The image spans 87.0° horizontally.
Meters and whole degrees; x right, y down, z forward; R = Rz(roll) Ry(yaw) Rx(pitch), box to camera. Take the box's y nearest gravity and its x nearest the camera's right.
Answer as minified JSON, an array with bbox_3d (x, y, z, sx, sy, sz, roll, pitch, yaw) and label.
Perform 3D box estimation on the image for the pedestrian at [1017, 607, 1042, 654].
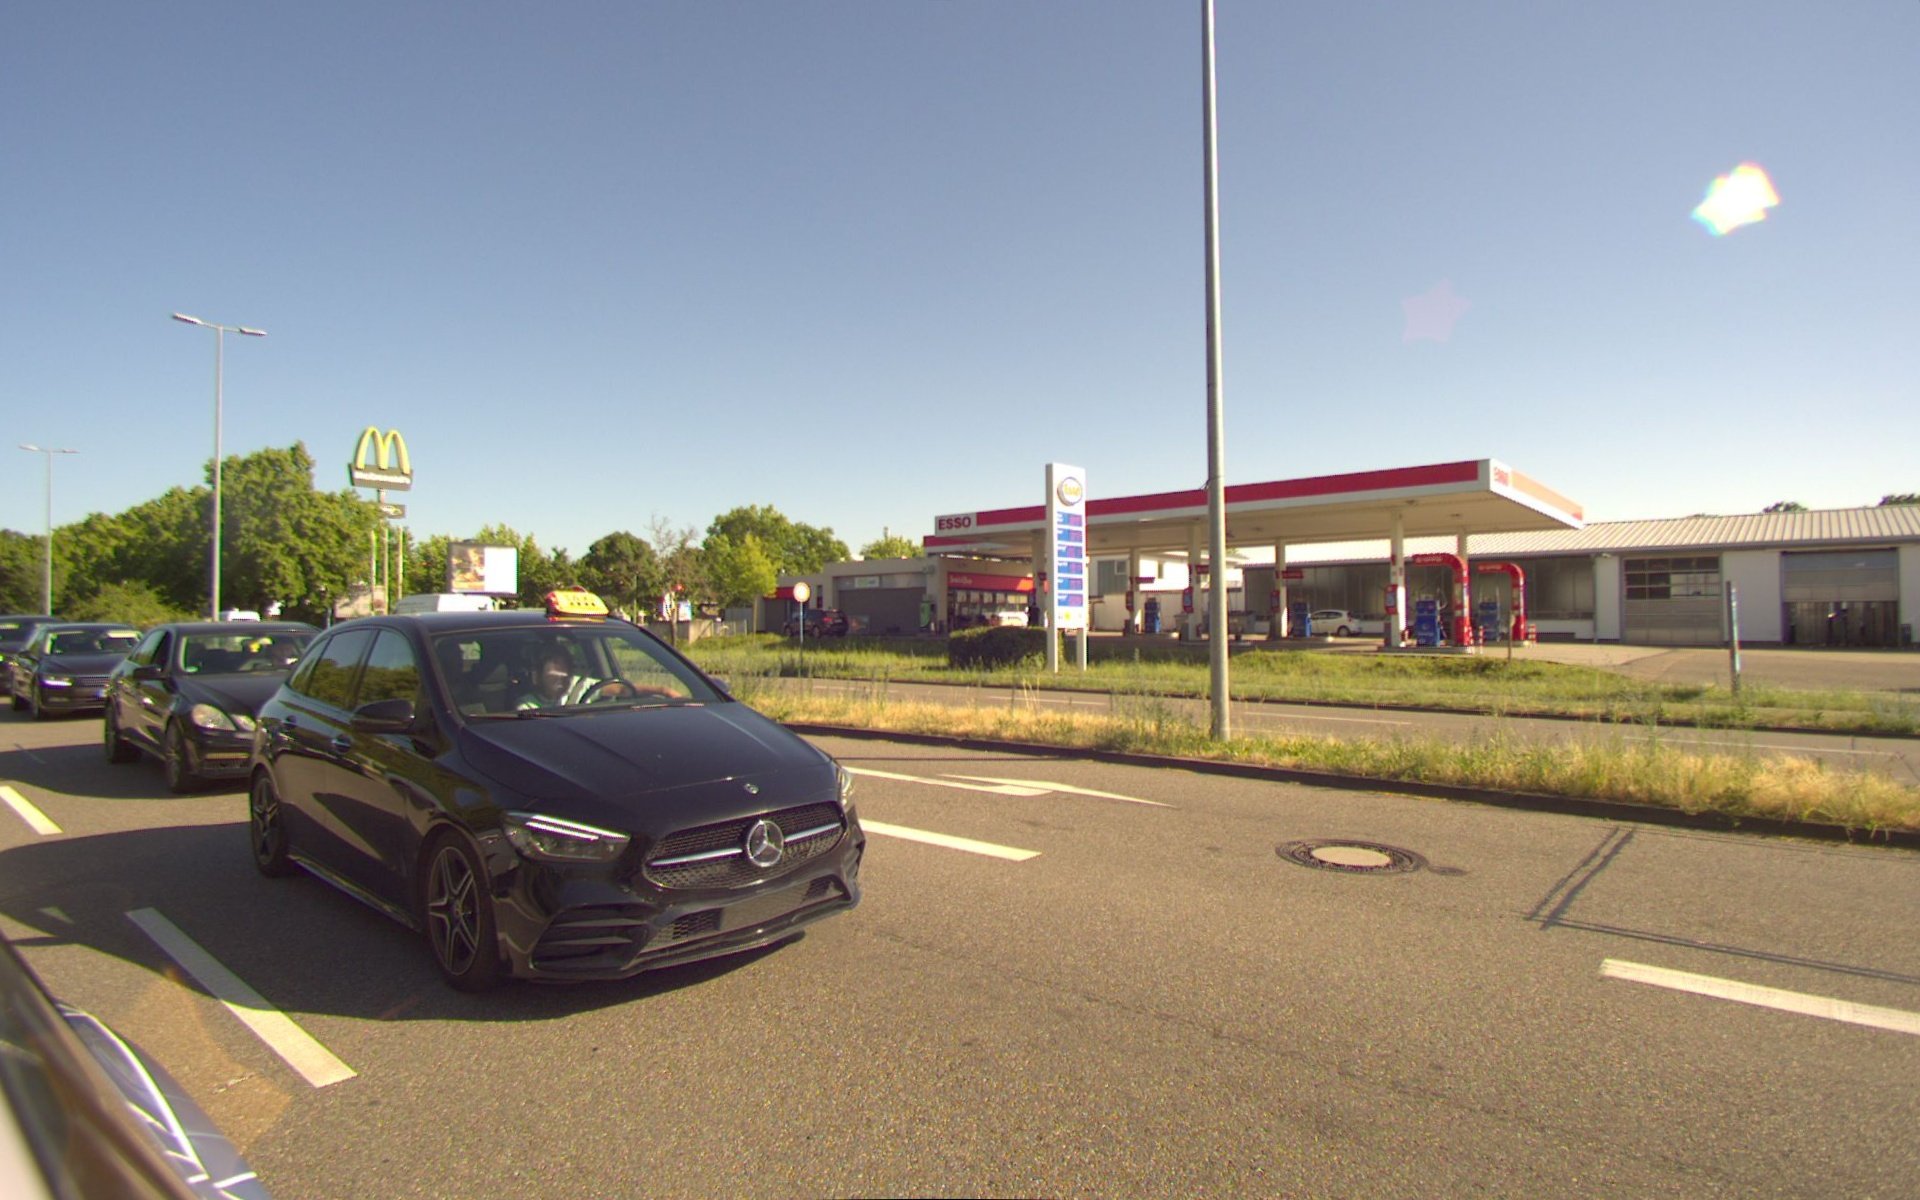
[{"bbox_3d":[3.061,1.352,44.758,0.840,2.029,0.694,-2,-2,41],"label":"pedestrian"}]

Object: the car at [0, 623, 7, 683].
[{"bbox_3d":[-28.066,1.468,28.165,4.401,1.600,1.838,-2,-2,41],"label":"car"}]

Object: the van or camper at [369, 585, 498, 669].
[{"bbox_3d":[-17.993,0.893,34.405,2.152,2.592,6.760,1,-2,-43],"label":"van or camper"}]

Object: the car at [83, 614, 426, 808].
[{"bbox_3d":[-7.231,0.935,10.198,4.401,1.535,1.838,-2,-2,41],"label":"car"}]

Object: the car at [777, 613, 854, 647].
[{"bbox_3d":[-7.886,1.632,55.082,4.117,1.783,1.972,-2,-1,43],"label":"car"}]

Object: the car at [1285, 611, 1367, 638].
[{"bbox_3d":[19.828,1.329,54.883,3.844,1.450,1.730,-2,-2,39],"label":"car"}]

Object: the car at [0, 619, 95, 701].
[{"bbox_3d":[-20.248,1.236,21.806,4.401,1.600,1.838,-2,-2,41],"label":"car"}]

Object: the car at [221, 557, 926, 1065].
[{"bbox_3d":[-2.300,0.732,5.350,4.187,1.638,1.780,-2,-2,42],"label":"car"}]

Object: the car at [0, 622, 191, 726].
[{"bbox_3d":[-14.442,1.128,16.784,4.401,1.492,1.838,-2,-2,41],"label":"car"}]

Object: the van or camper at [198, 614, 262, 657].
[{"bbox_3d":[-48.567,2.366,67.262,5.952,2.671,1.973,-1,-4,40],"label":"van or camper"}]
